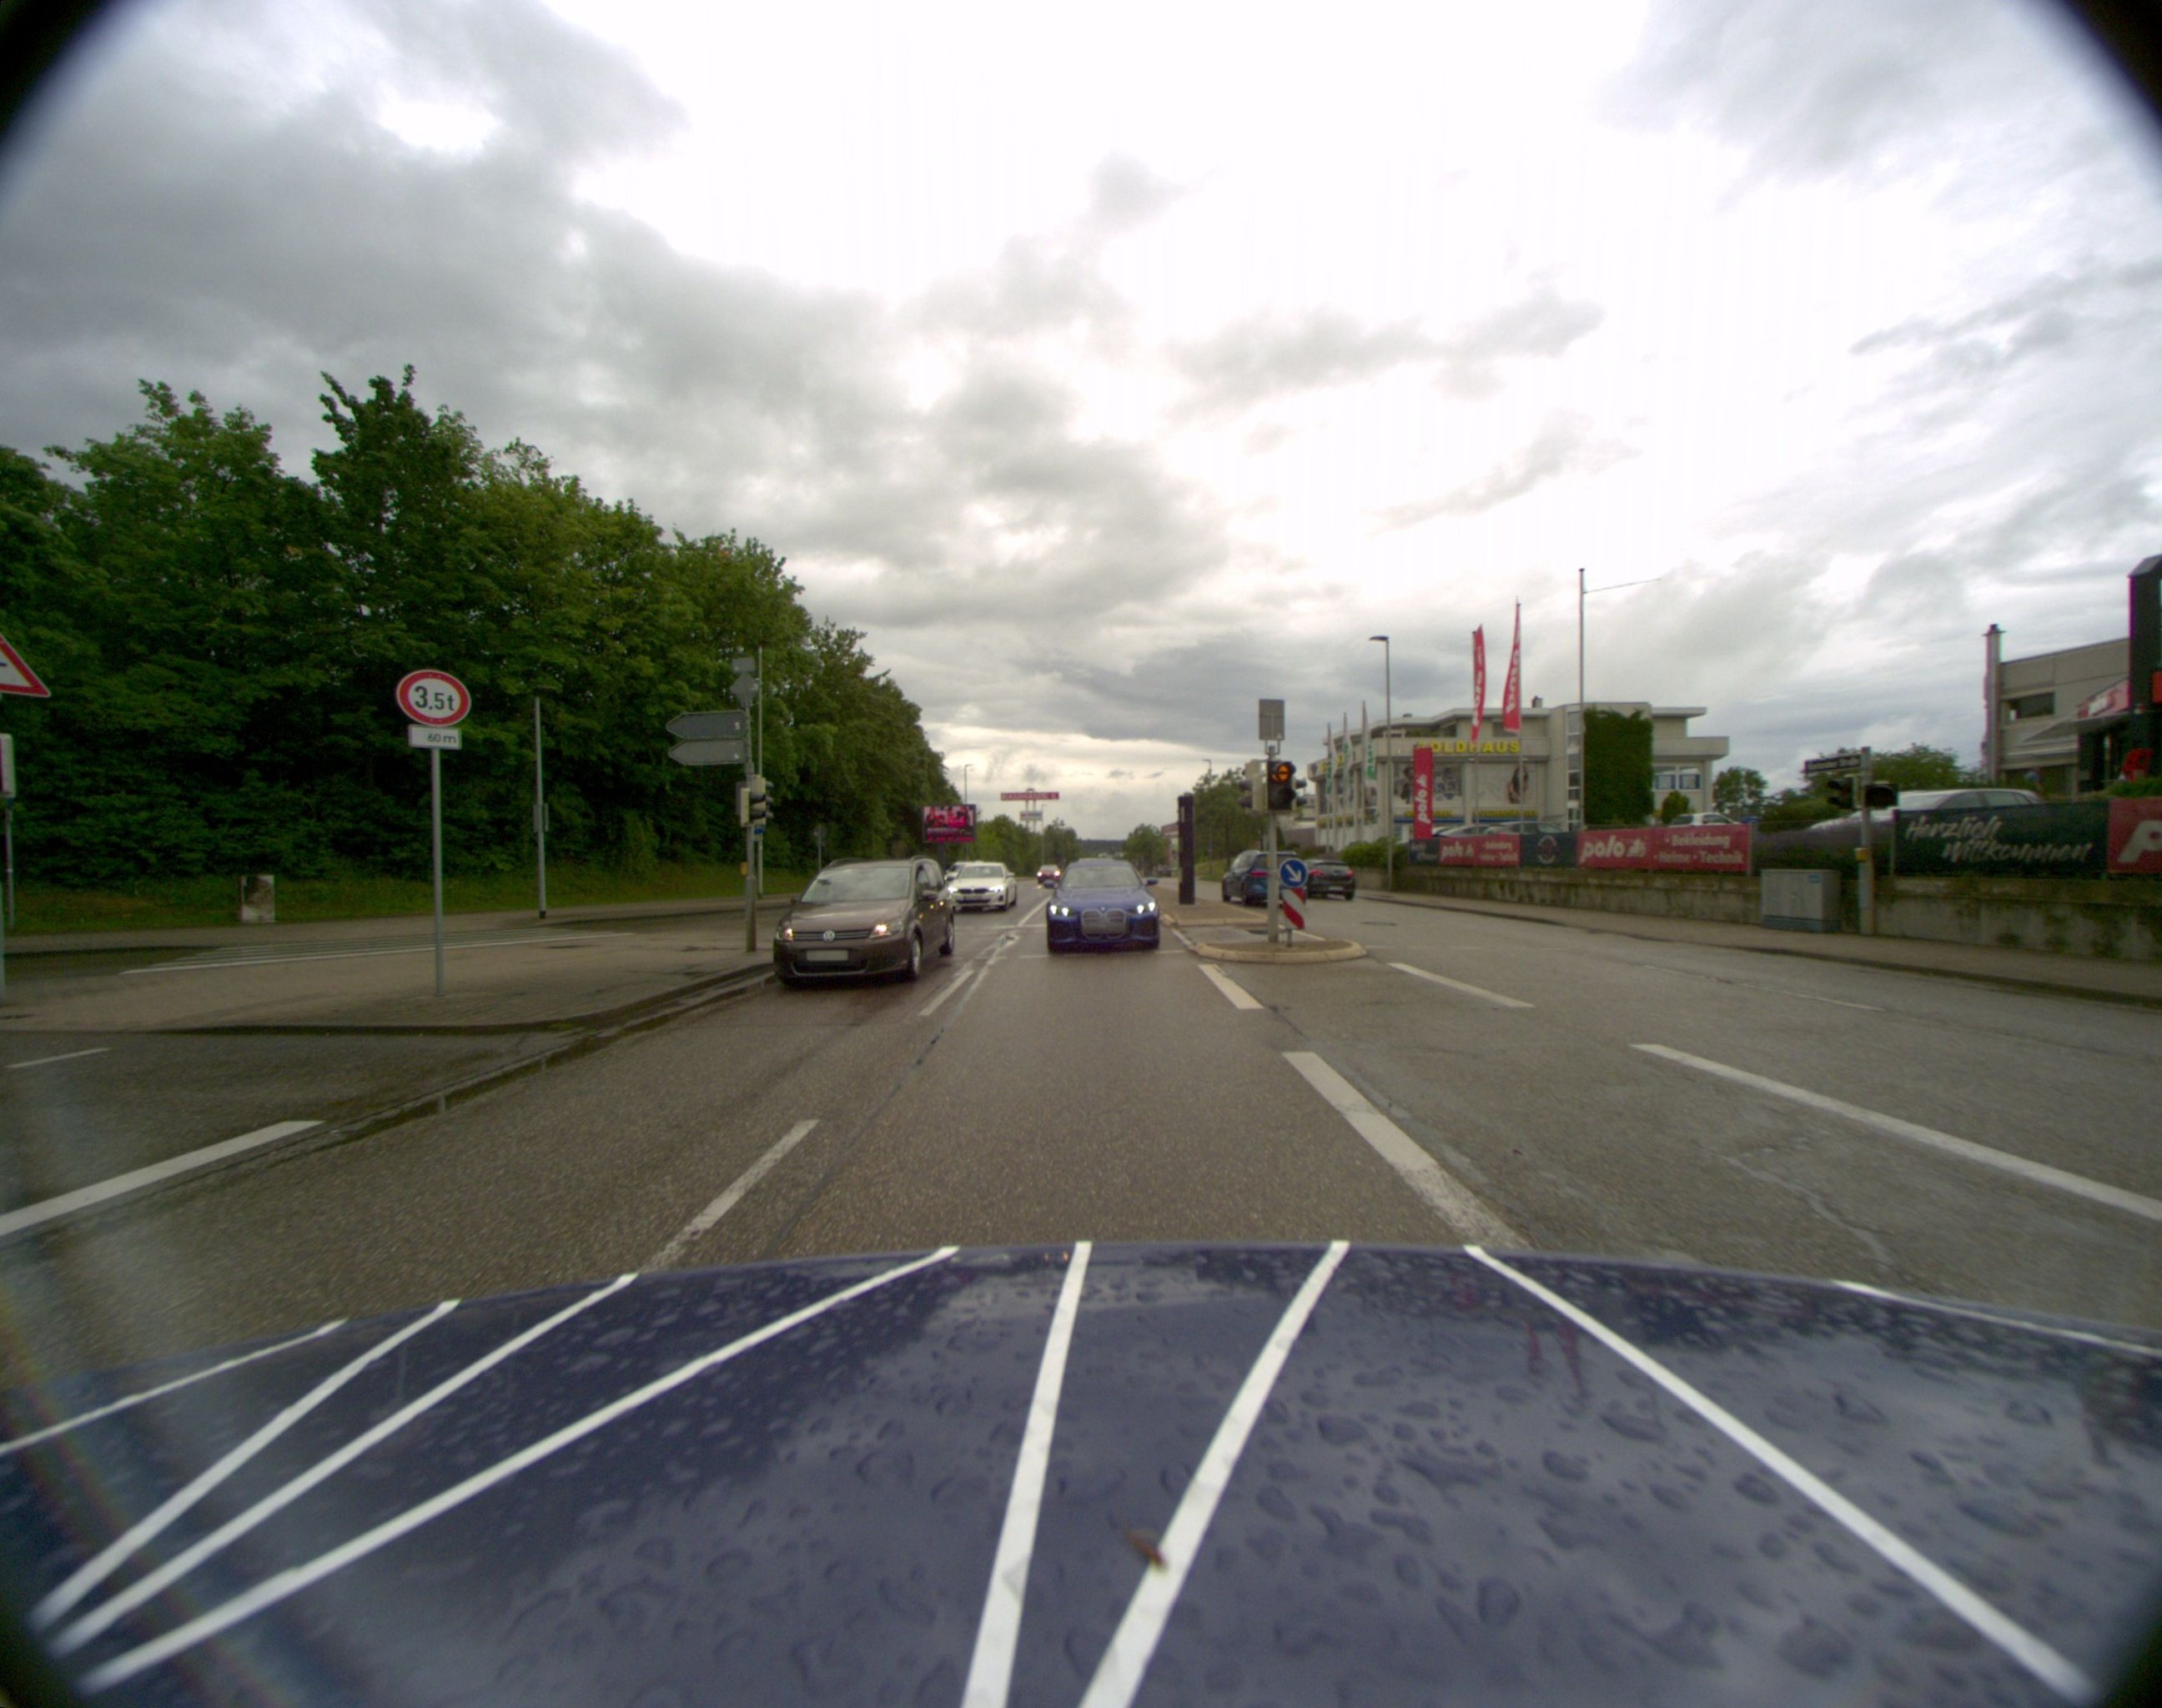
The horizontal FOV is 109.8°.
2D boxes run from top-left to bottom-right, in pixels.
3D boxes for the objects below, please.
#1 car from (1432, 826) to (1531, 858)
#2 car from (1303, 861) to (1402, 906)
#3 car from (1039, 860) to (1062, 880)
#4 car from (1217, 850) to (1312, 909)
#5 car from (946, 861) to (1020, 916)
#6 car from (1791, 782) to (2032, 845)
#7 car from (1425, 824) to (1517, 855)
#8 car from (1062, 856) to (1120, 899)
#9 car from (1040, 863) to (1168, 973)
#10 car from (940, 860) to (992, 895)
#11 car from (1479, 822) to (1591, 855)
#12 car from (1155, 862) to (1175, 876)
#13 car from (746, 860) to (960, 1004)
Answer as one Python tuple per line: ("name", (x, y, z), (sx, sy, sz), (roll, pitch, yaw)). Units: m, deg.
("car", (16.676, -0.472, 31.729), (3.395, 1.270, 1.454), (0, 0, -2))
("car", (9.164, 0.934, 25.996), (1.922, 1.371, 4.125), (1, 0, 0))
("car", (-2.331, 1.204, 58.204), (1.634, 1.448, 3.538), (-2, 0, -1))
("car", (5.514, 0.725, 23.416), (1.844, 1.640, 4.297), (1, 0, 0))
("car", (-2.996, 1.009, 24.114), (1.784, 1.448, 4.679), (-2, 0, -1))
("car", (16.802, -0.798, 15.466), (3.395, 1.160, 1.454), (0, 0, -2))
("car", (17.597, -0.639, 34.354), (3.394, 1.329, 1.454), (-1, 0, 1))
("car", (0.411, 0.922, 29.008), (1.998, 1.455, 4.370), (-2, -2, 1))
("car", (0.295, 0.943, 13.106), (1.784, 1.448, 4.596), (-2, 0, -1))
("car", (-5.964, 1.185, 39.777), (1.998, 1.717, 4.317), (-1, 0, 1))
("car", (17.053, -0.565, 28.623), (3.395, 1.160, 1.454), (0, 0, -2))
("car", (11.699, 2.079, 105.906), (2.350, 1.879, 4.546), (0, -2, 1))
("car", (-2.984, 0.933, 10.880), (1.751, 1.600, 3.980), (-2, 0, 1))
